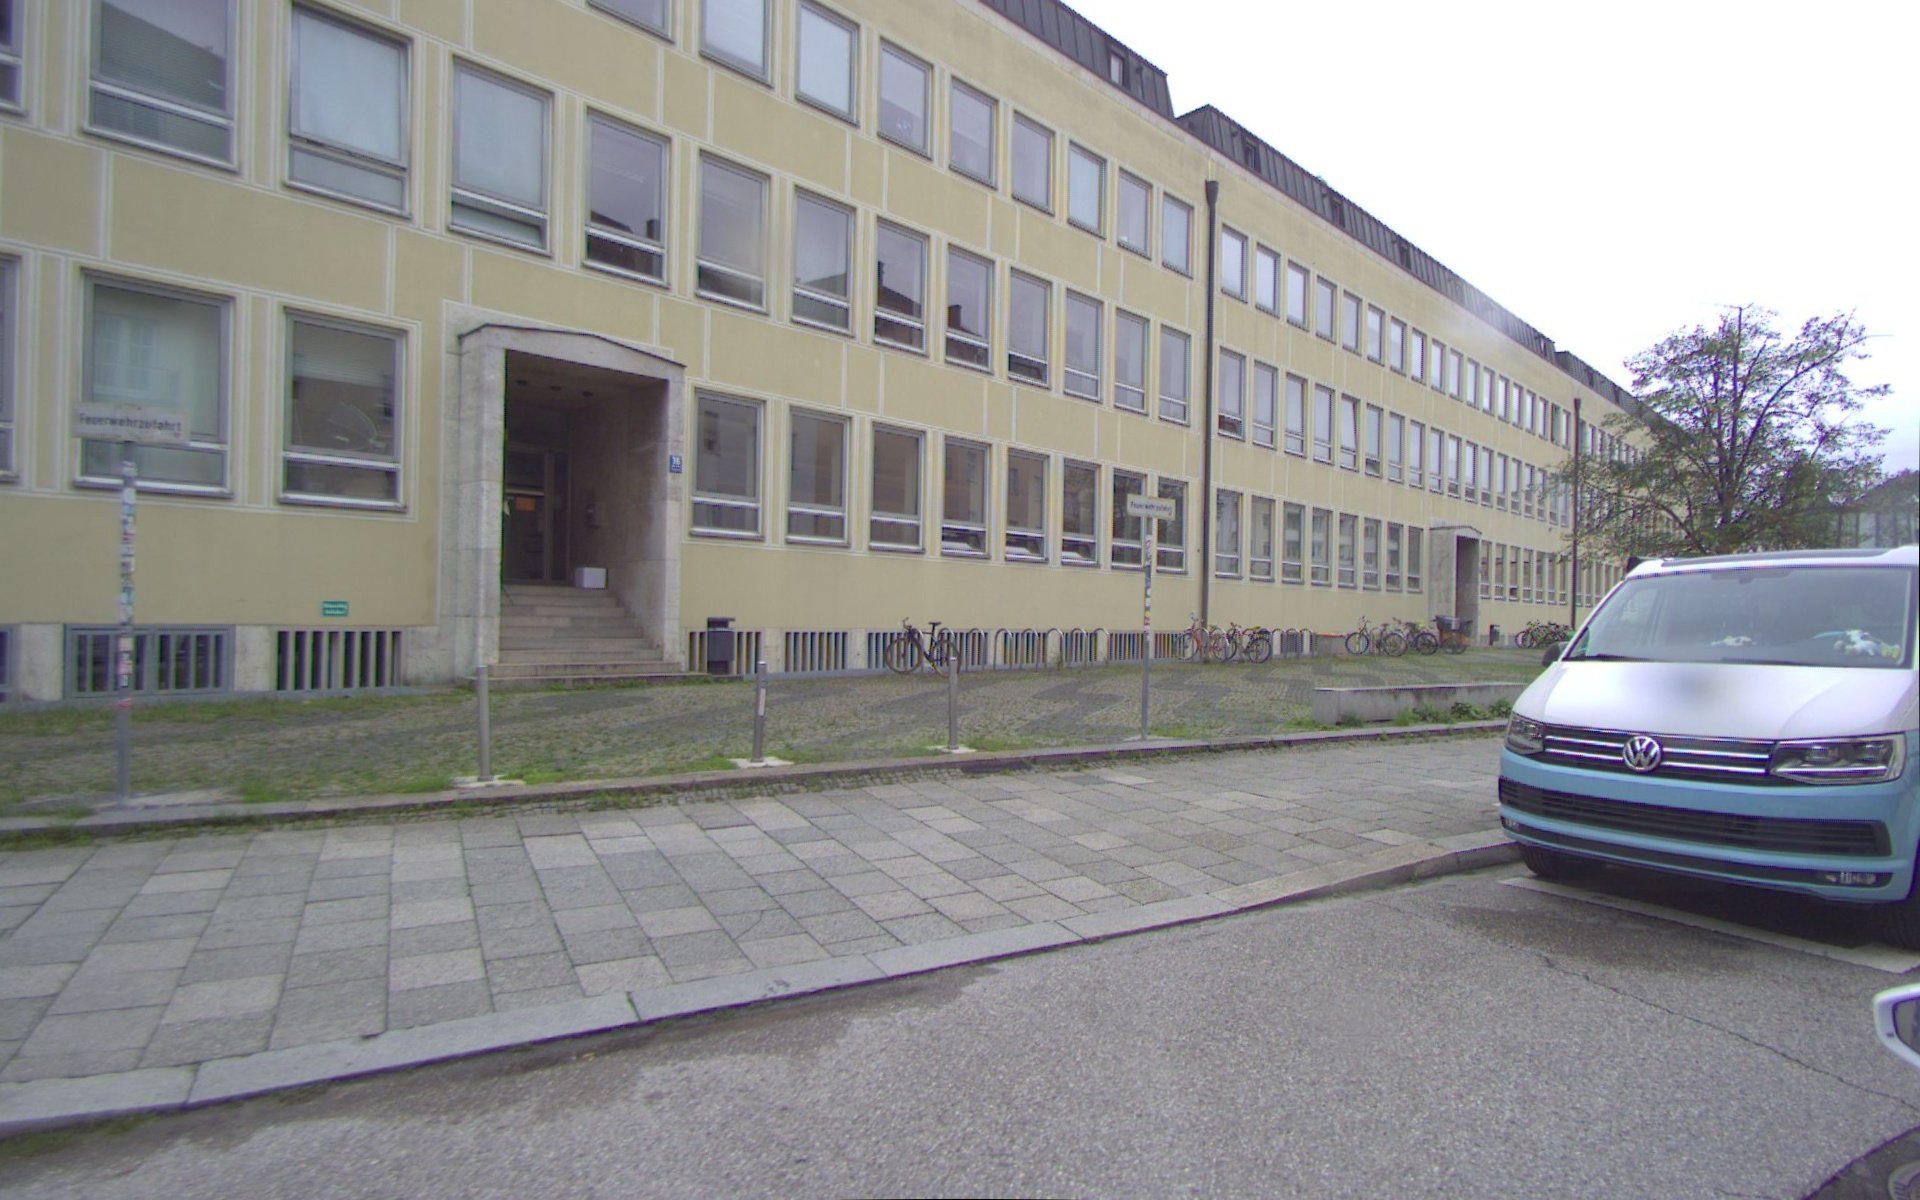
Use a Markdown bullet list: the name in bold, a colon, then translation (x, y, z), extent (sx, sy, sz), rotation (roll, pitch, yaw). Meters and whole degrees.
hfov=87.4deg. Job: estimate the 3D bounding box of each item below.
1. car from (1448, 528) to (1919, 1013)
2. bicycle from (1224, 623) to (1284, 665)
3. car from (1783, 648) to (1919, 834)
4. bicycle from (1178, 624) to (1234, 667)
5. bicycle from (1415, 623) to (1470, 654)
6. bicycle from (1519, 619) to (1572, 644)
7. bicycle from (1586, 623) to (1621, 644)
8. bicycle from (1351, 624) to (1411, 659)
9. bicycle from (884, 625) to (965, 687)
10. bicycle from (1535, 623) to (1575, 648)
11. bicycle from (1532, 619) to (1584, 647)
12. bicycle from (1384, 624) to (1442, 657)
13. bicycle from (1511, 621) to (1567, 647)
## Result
- **car**: translation (5.364, 0.750, 6.270), extent (4.907, 1.986, 1.904), rotation (1, -2, -33)
- **bicycle**: translation (7.334, 1.094, 25.077), extent (0.411, 0.957, 1.394), rotation (1, 1, -42)
- **car**: translation (9.092, 1.142, 8.770), extent (3.666, 1.425, 1.796), rotation (1, -3, -31)
- **bicycle**: translation (5.987, 1.090, 24.467), extent (0.410, 0.957, 1.398), rotation (1, 1, -33)
- **bicycle**: translation (16.197, 1.290, 33.716), extent (1.583, 0.957, 0.501), rotation (2, 1, 36)
- **bicycle**: translation (24.120, 1.289, 41.403), extent (1.837, 0.957, 0.412), rotation (2, 1, 42)
- **bicycle**: translation (31.526, 1.620, 49.205), extent (1.392, 0.957, 0.412), rotation (3, 1, 44)
- **bicycle**: translation (12.806, 1.248, 30.580), extent (1.585, 0.957, 0.500), rotation (2, 1, 42)
- **bicycle**: translation (-0.618, 0.945, 17.292), extent (1.387, 0.957, 0.413), rotation (2, 1, 32)
- **bicycle**: translation (25.113, 1.494, 42.397), extent (1.389, 0.957, 0.413), rotation (2, 1, 37)
- **bicycle**: translation (25.979, 1.411, 43.640), extent (1.825, 1.110, 0.698), rotation (3, 1, 43)
- **bicycle**: translation (14.463, 1.270, 32.108), extent (1.585, 0.957, 0.500), rotation (2, 1, 42)
- **bicycle**: translation (23.632, 1.380, 41.036), extent (0.411, 0.957, 1.933), rotation (1, 1, -42)
